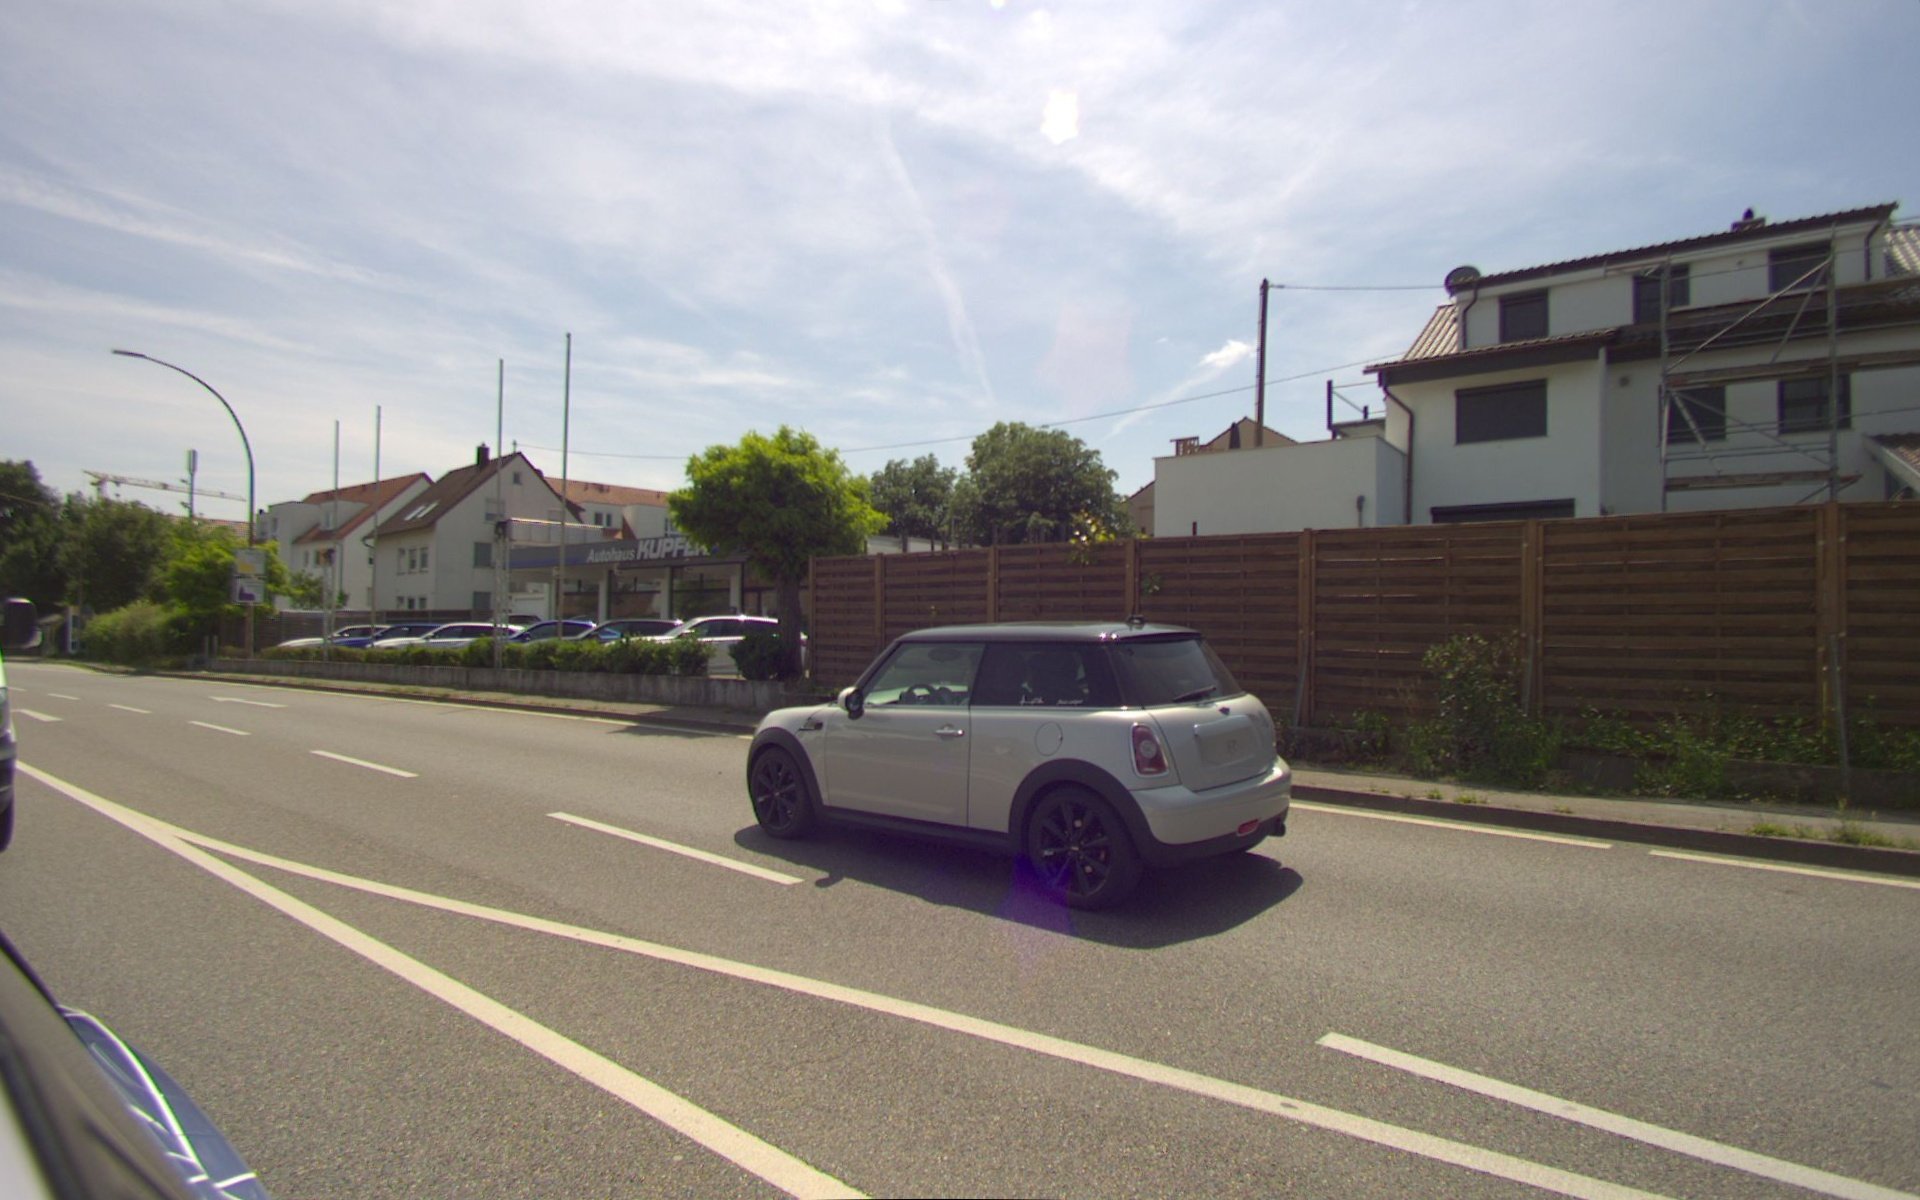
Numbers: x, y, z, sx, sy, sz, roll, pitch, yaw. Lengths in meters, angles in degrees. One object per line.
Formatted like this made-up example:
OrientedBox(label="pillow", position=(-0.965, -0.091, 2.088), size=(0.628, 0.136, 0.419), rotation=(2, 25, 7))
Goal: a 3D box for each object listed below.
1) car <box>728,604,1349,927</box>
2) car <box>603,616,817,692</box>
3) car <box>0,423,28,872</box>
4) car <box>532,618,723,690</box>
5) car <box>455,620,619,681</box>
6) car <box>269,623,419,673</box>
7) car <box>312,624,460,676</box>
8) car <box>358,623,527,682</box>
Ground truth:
OrientedBox(label="car", position=(0.293, 0.766, 6.206), size=(3.560, 1.392, 1.604), rotation=(-2, -1, 42))
OrientedBox(label="car", position=(-5.502, 1.130, 22.272), size=(4.264, 1.471, 1.861), rotation=(0, -1, -26))
OrientedBox(label="car", position=(-8.306, 0.349, 7.040), size=(5.628, 2.619, 1.953), rotation=(-2, -1, 40))
OrientedBox(label="car", position=(-8.155, 1.266, 24.832), size=(4.187, 1.557, 1.856), rotation=(-1, -1, -27))
OrientedBox(label="car", position=(-11.353, 1.301, 27.212), size=(3.931, 1.453, 1.860), rotation=(-1, -1, -25))
OrientedBox(label="car", position=(-21.251, 1.626, 35.120), size=(4.192, 1.541, 2.006), rotation=(-1, -1, -24))
OrientedBox(label="car", position=(-18.335, 1.566, 32.554), size=(3.930, 1.475, 2.006), rotation=(-1, -1, -24))
OrientedBox(label="car", position=(-15.036, 1.486, 29.684), size=(4.239, 1.530, 2.006), rotation=(-1, -1, -23))
